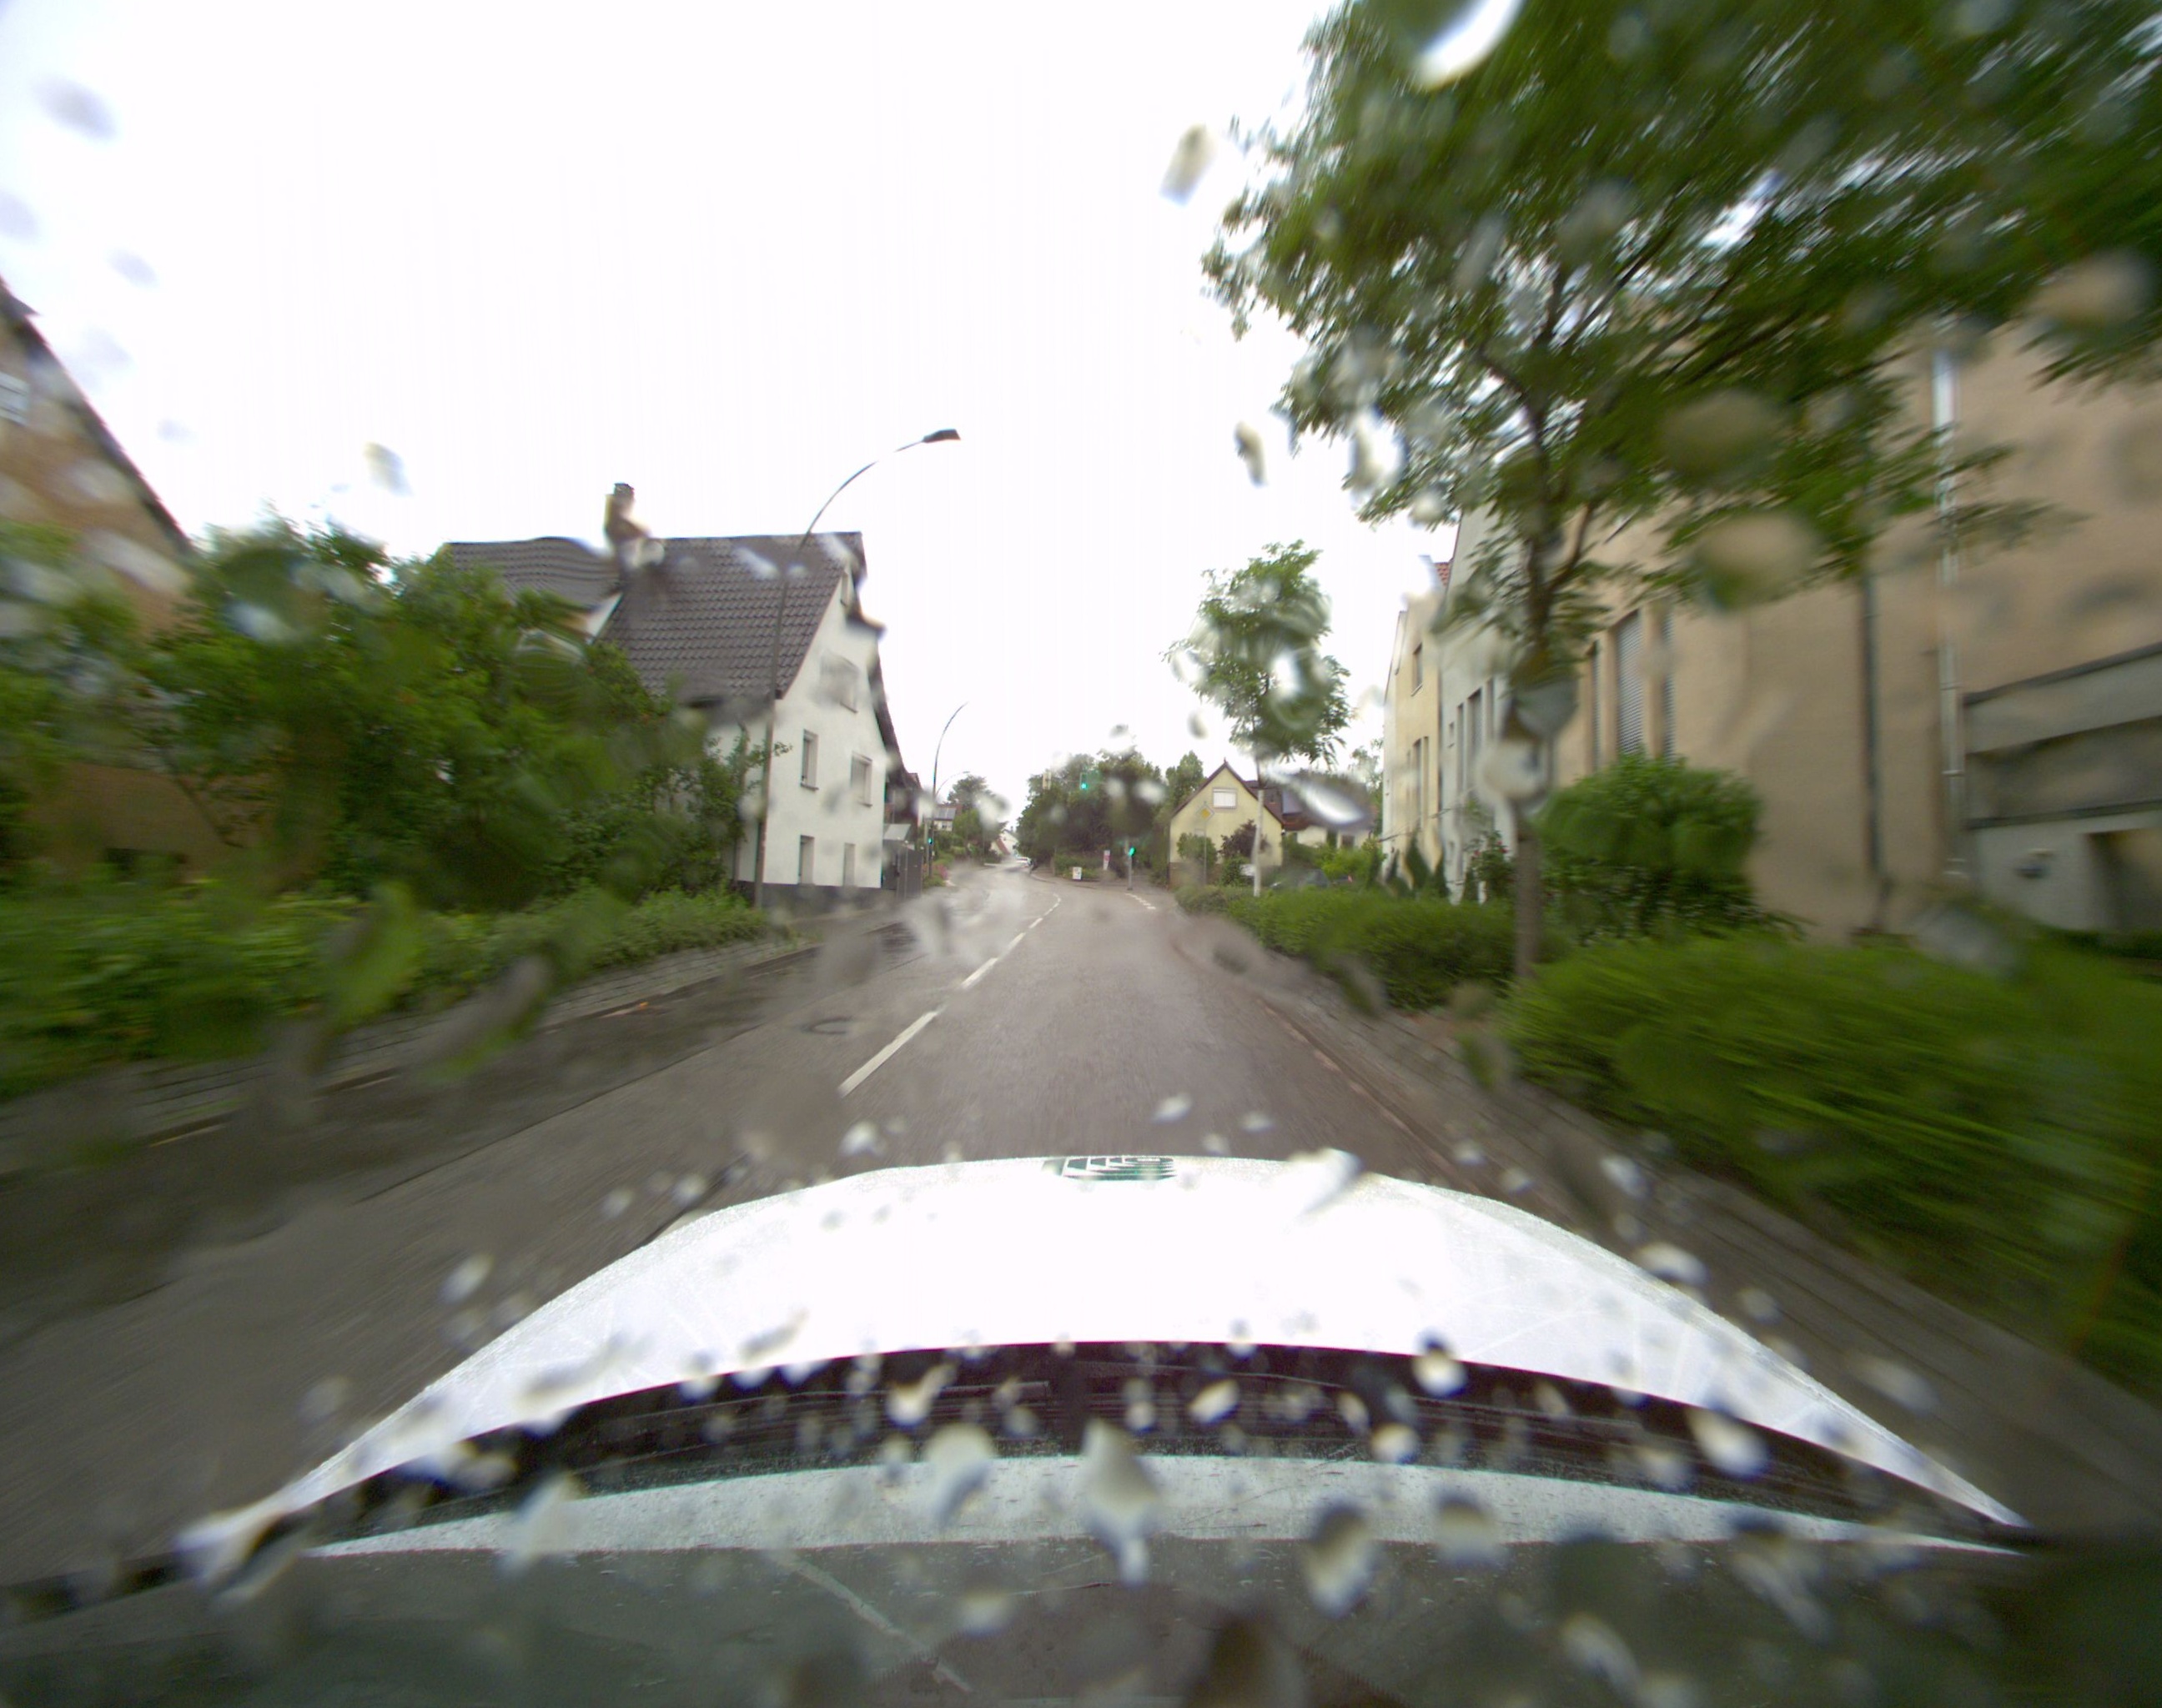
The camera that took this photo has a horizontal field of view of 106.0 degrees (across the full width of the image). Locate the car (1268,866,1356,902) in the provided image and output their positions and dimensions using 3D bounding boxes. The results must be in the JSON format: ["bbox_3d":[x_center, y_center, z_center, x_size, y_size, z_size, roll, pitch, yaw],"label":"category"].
[{"bbox_3d":[11.433,1.470,40.561,4.104,1.585,1.870,2,-2,12],"label":"car"}]

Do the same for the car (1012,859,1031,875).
[{"bbox_3d":[-5.556,1.203,76.024,1.609,1.480,4.032,2,-1,-4],"label":"car"}]

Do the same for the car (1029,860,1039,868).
[{"bbox_3d":[-7.801,1.625,134.966,1.649,1.372,4.175,1,-1,-4],"label":"car"}]

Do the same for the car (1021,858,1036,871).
[{"bbox_3d":[-7.014,1.398,108.908,1.809,1.574,3.878,1,-1,-1],"label":"car"}]

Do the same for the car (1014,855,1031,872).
[{"bbox_3d":[-6.249,0.975,87.081,1.633,1.741,4.132,2,-1,-2],"label":"car"}]
